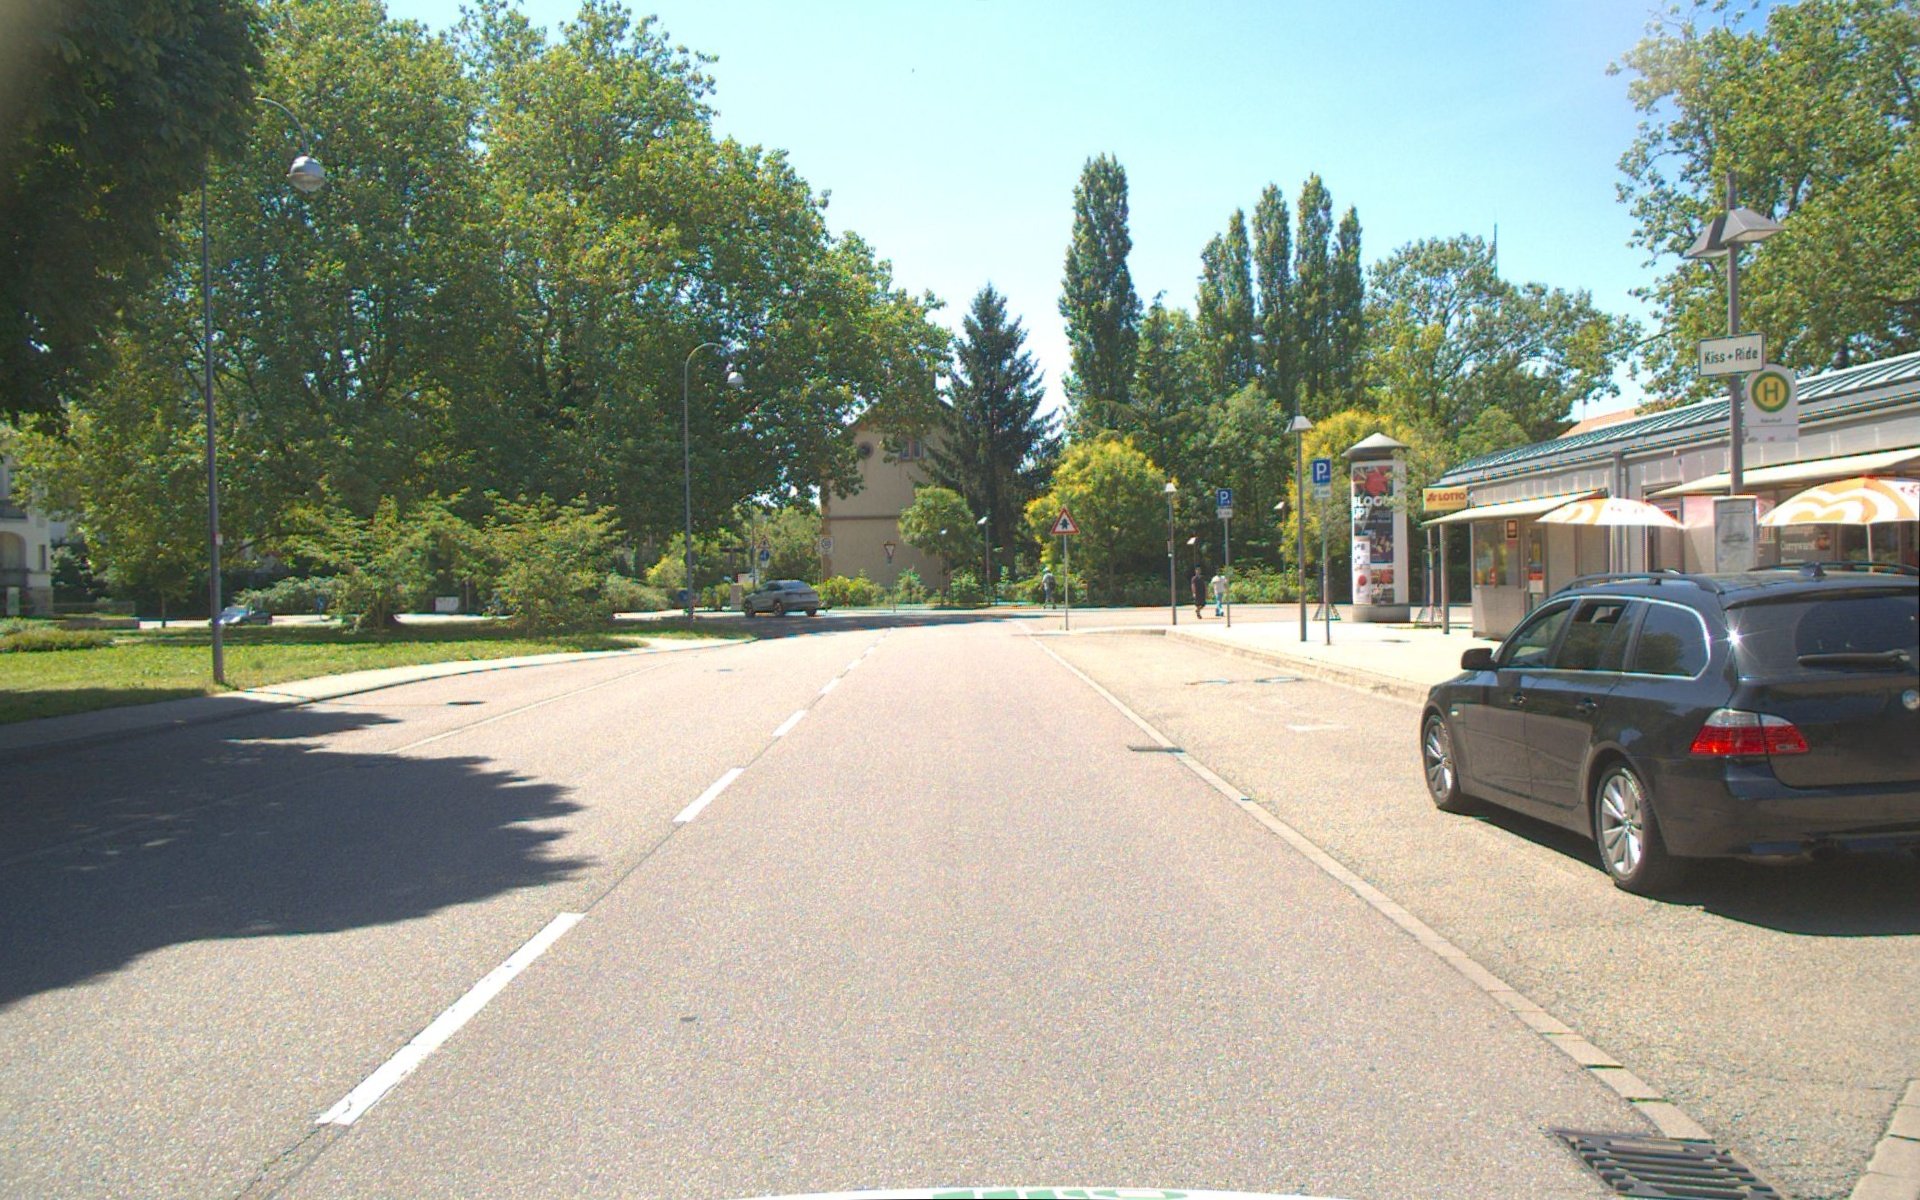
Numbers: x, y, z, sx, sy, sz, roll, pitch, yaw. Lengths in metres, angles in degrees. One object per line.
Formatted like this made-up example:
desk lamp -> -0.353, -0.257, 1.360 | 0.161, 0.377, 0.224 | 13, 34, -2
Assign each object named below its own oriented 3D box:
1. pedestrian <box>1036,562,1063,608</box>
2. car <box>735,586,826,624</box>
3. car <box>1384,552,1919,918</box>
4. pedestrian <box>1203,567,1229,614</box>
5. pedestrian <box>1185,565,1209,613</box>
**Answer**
pedestrian -> 3.925, -0.662, 72.878 | 0.798, 2.000, 0.844 | -1, 1, -40
car -> -8.288, 0.214, 76.248 | 1.969, 1.655, 4.712 | -2, 1, -38
car -> 4.092, 0.549, 9.585 | 1.888, 1.485, 4.724 | -4, 1, -1
pedestrian -> 9.294, -0.324, 60.076 | 0.706, 1.678, 0.750 | -1, -2, 27
pedestrian -> 8.415, -0.388, 58.683 | 0.623, 1.678, 0.750 | -1, -2, 27
